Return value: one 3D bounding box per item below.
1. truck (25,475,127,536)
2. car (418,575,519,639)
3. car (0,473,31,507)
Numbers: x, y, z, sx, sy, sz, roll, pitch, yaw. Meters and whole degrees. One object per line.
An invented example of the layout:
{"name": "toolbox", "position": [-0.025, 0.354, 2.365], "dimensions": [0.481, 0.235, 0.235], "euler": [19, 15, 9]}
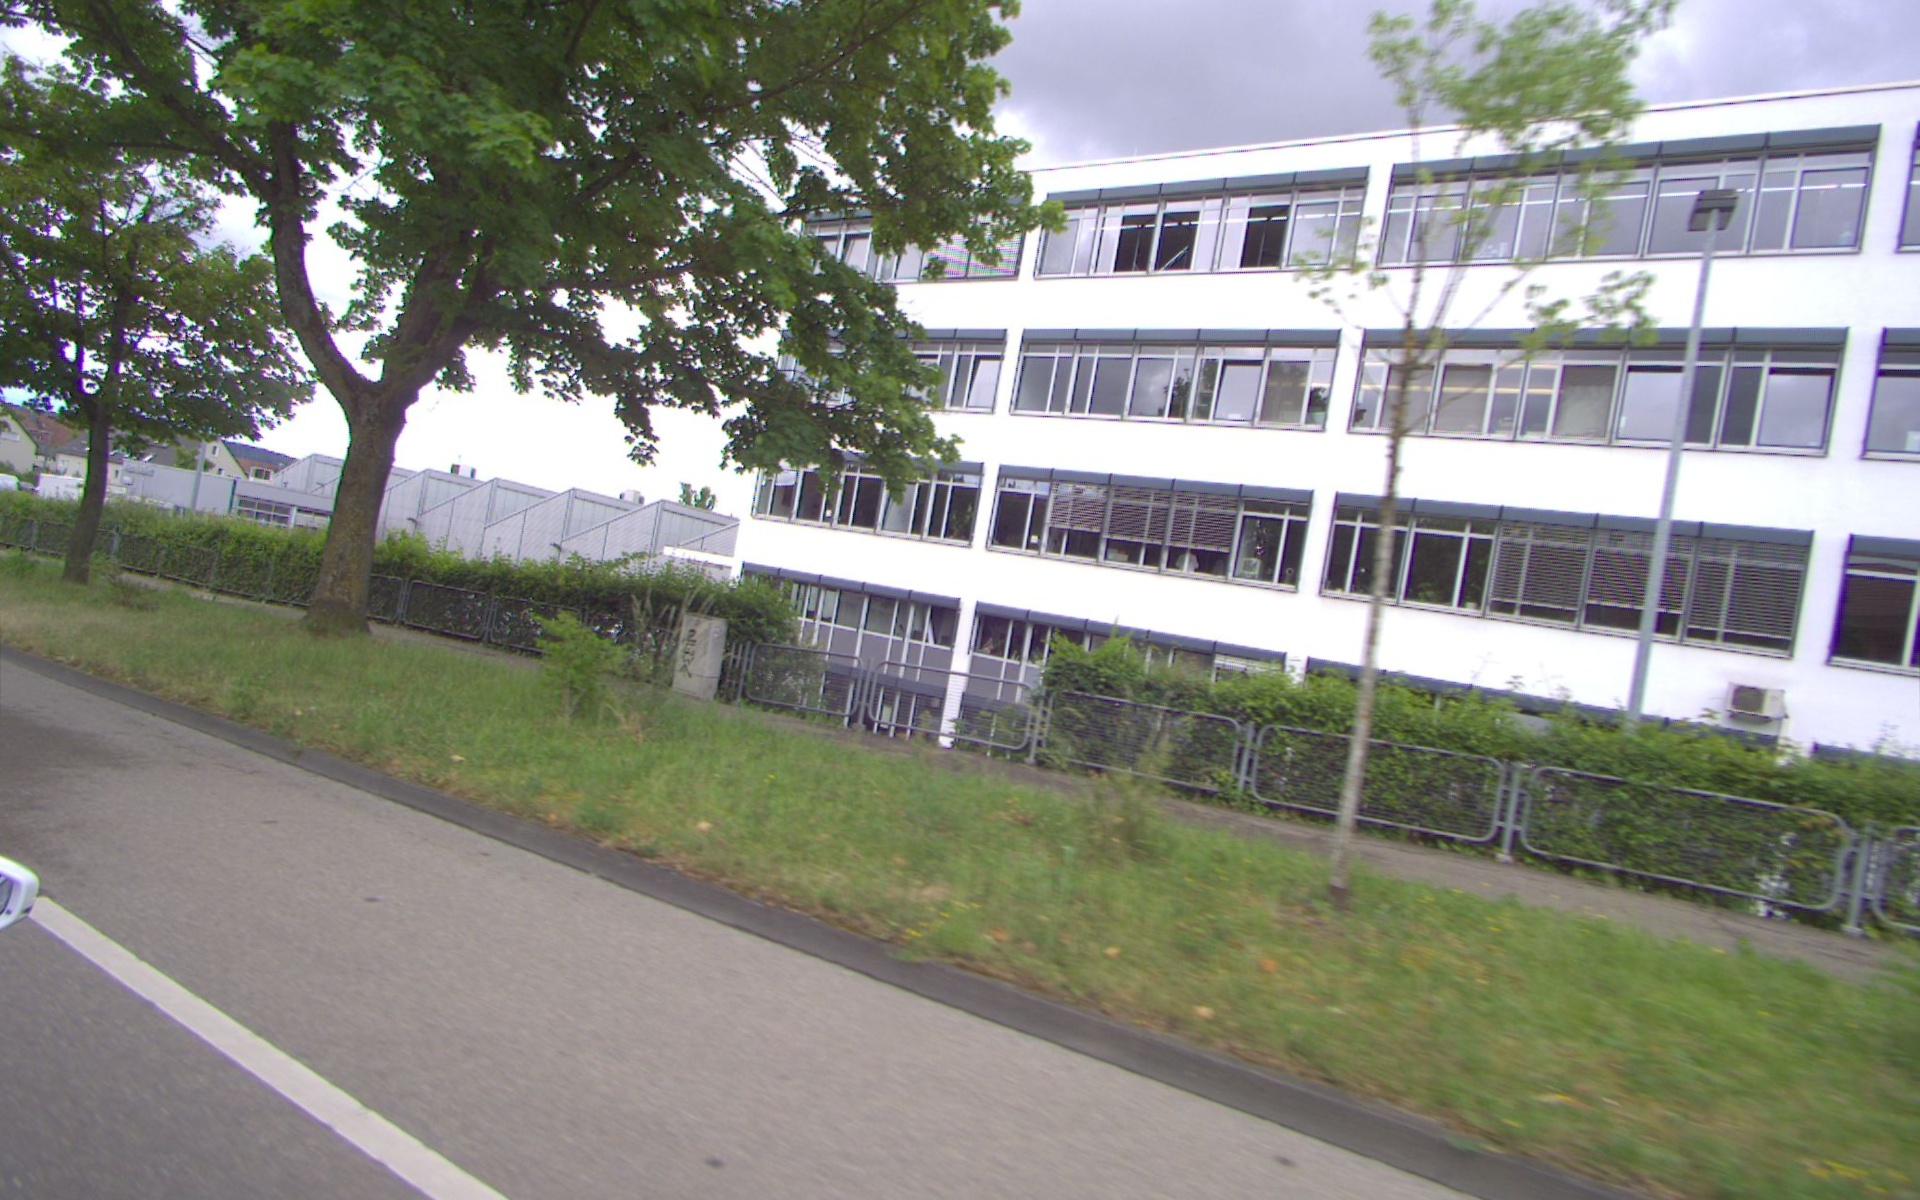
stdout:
{"name": "truck", "position": [-63.600, -6.858, 72.284], "dimensions": [9.387, 3.498, 2.858], "euler": [6, -2, 33]}
{"name": "car", "position": [-21.370, 0.296, 43.723], "dimensions": [3.934, 2.170, 1.998], "euler": [6, -2, 32]}
{"name": "car", "position": [-86.820, -10.023, 90.783], "dimensions": [2.233, 2.709, 5.421], "euler": [8, 0, -21]}
